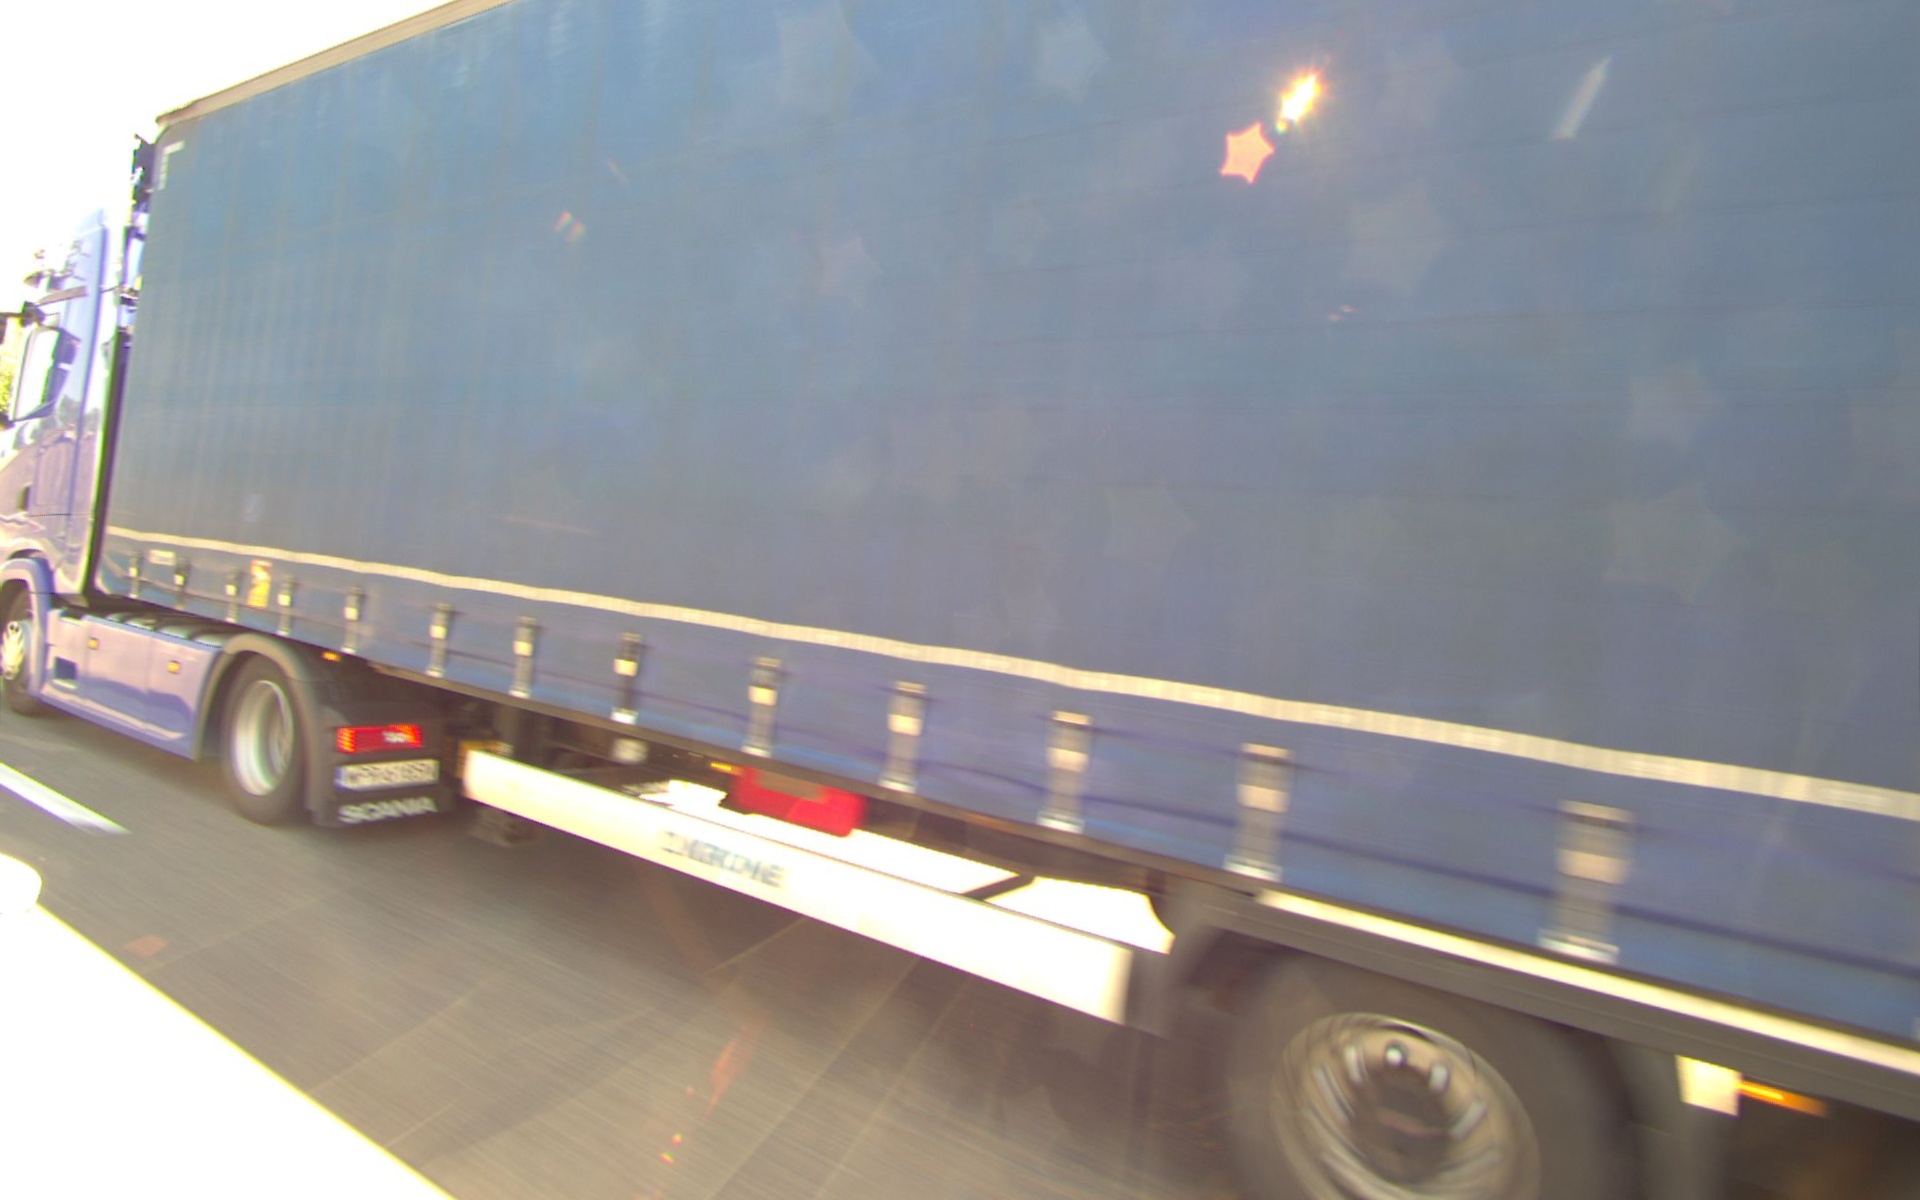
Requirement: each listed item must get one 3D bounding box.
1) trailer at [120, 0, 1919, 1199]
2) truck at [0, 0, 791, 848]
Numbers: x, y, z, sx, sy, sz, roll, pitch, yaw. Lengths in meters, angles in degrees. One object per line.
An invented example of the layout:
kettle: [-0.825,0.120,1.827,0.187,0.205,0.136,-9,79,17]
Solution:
trailer: [1.232,-0.432,3.696,11.931,4.166,2.705,6,-1,32]
truck: [-5.021,-1.107,7.611,6.874,4.166,2.705,6,-1,31]
